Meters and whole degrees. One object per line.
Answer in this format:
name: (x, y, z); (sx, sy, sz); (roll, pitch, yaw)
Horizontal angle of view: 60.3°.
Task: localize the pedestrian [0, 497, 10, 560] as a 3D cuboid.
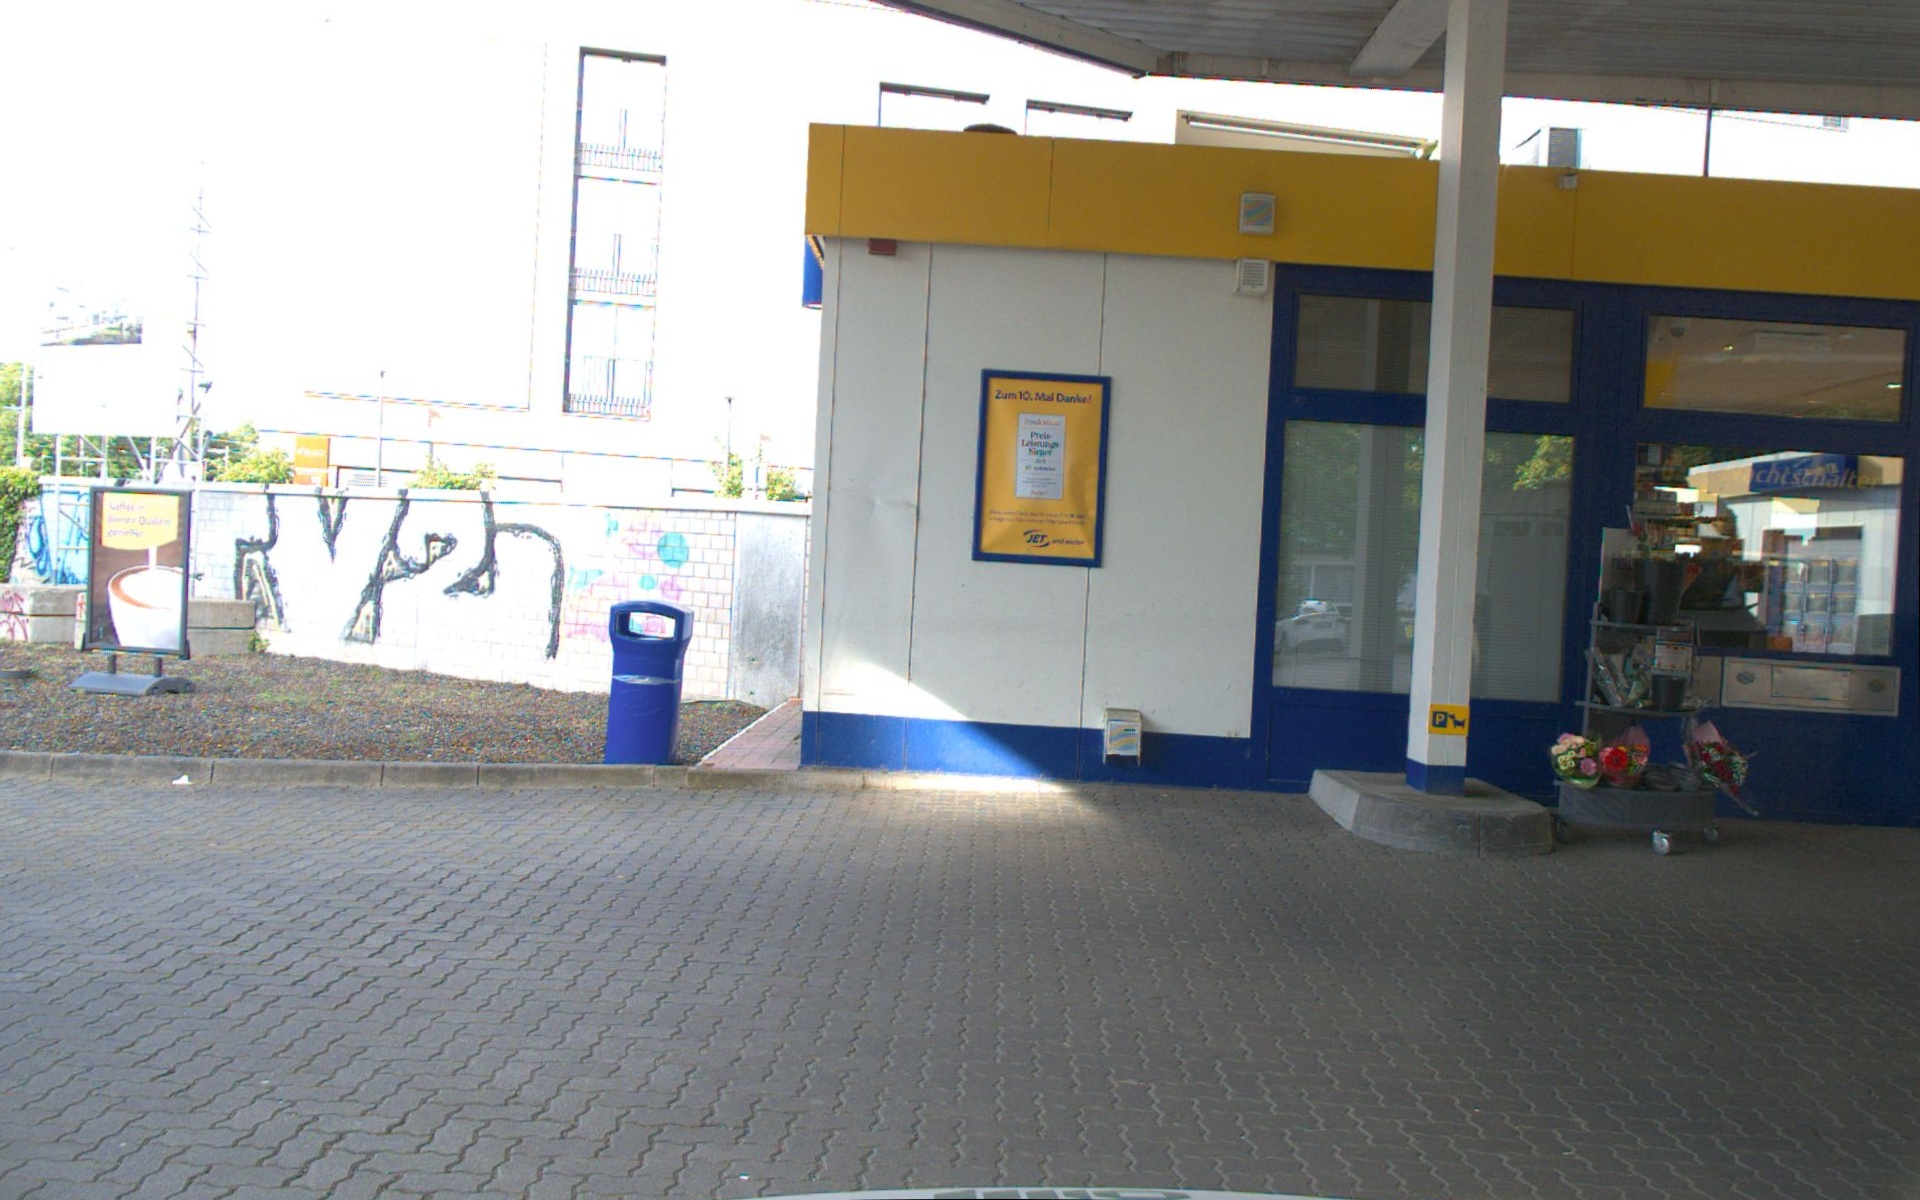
pedestrian: (-32.158, -2.379, 54.967); (0.793, 2.049, 0.847); (1, -1, -17)
